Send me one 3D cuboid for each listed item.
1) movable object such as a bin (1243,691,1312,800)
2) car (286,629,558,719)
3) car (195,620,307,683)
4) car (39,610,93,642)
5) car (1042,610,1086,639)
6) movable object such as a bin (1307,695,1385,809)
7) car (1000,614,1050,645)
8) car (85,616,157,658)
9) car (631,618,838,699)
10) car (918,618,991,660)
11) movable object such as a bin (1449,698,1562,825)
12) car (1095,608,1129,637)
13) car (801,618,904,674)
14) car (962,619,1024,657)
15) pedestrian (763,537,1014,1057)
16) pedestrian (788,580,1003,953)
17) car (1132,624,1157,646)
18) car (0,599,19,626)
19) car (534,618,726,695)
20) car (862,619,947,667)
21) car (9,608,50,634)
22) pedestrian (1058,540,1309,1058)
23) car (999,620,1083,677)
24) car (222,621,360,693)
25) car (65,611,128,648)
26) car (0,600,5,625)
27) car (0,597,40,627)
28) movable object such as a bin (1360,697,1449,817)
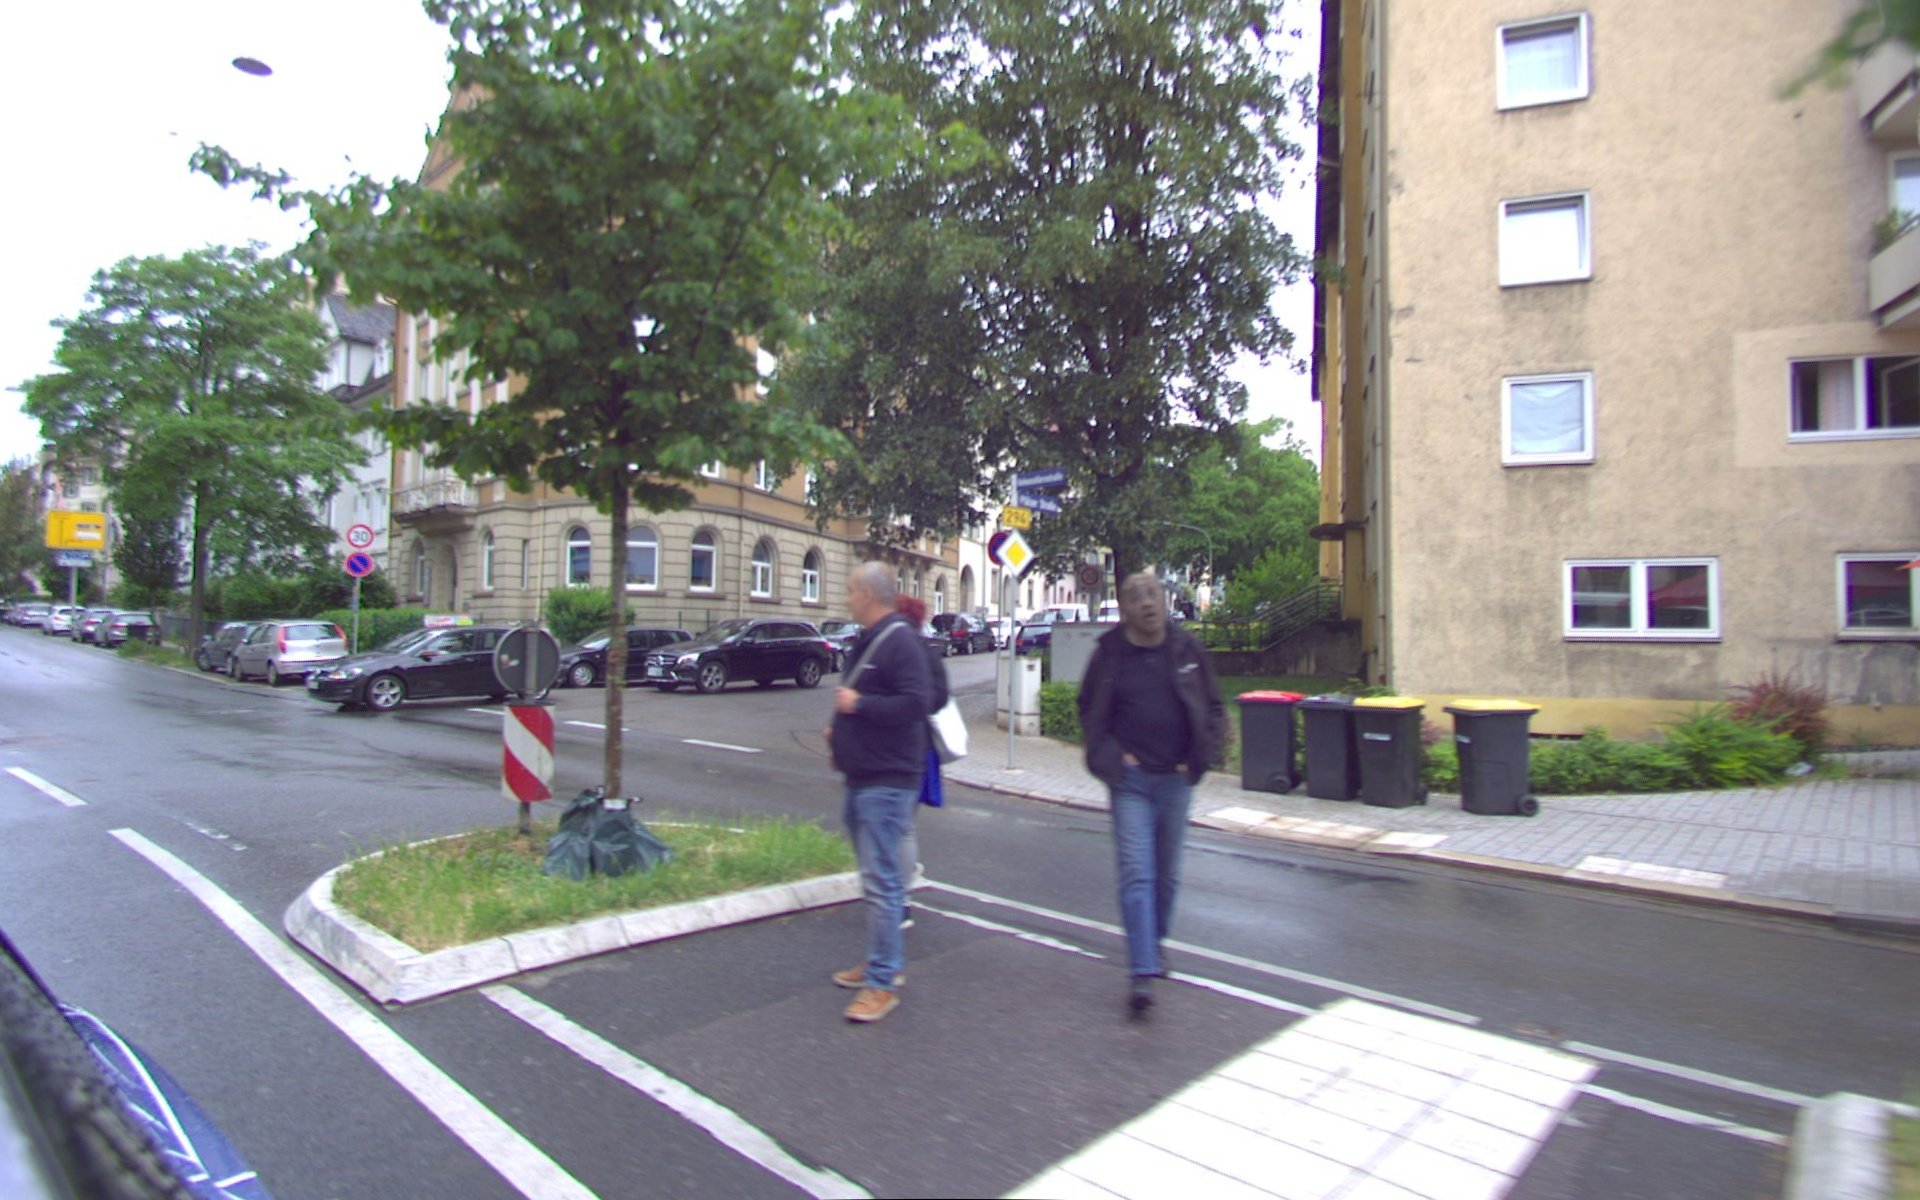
[{"bbox_3d":[3.456,1.553,10.990,0.576,1.066,0.735,0,-2,29],"label":"movable object such as a bin"},{"bbox_3d":[-9.589,1.259,18.283,1.809,1.431,3.948,-2,-3,38],"label":"car"},{"bbox_3d":[-19.066,1.334,27.175,3.391,1.527,1.651,0,0,40],"label":"car"},{"bbox_3d":[-45.194,1.300,51.138,3.392,1.527,1.650,0,0,41],"label":"car"},{"bbox_3d":[6.517,1.522,63.131,1.983,1.697,3.977,0,-2,17],"label":"car"},{"bbox_3d":[4.032,1.558,10.555,0.578,1.066,0.733,0,-2,38],"label":"movable object such as a bin"},{"bbox_3d":[3.764,1.690,57.829,1.983,1.697,3.977,0,-2,17],"label":"car"},{"bbox_3d":[-33.279,1.425,40.135,3.695,1.527,1.650,0,0,41],"label":"car"},{"bbox_3d":[-5.056,1.301,23.270,1.809,1.659,4.543,-2,-3,38],"label":"car"},{"bbox_3d":[-0.172,1.644,43.069,1.983,1.697,3.977,0,-2,17],"label":"car"},{"bbox_3d":[5.155,1.499,9.614,0.806,1.066,0.738,0,-2,17],"label":"movable object such as a bin"},{"bbox_3d":[11.604,1.715,77.261,1.983,2.095,3.977,0,-2,17],"label":"car"},{"bbox_3d":[-3.477,1.496,33.557,1.983,1.697,3.977,0,-2,17],"label":"car"},{"bbox_3d":[1.625,1.780,48.016,1.983,1.697,3.977,0,-2,17],"label":"car"},{"bbox_3d":[-0.272,0.687,3.922,0.698,1.762,0.603,-2,-5,43],"label":"pedestrian"},{"bbox_3d":[-0.327,0.781,5.089,0.779,1.678,0.700,4,-4,-33],"label":"pedestrian"},{"bbox_3d":[17.904,3.353,97.970,1.982,2.029,3.979,0,-2,16],"label":"car"},{"bbox_3d":[-67.533,0.866,71.151,3.657,1.896,1.619,0,-2,41],"label":"car"},{"bbox_3d":[-7.942,1.322,24.570,3.939,1.697,2.002,2,-2,-43],"label":"car"},{"bbox_3d":[-2.033,1.591,38.288,1.983,1.697,3.977,0,-2,17],"label":"car"},{"bbox_3d":[-56.845,1.286,61.802,3.393,1.527,1.538,0,0,42],"label":"car"},{"bbox_3d":[0.848,0.716,4.091,0.844,1.762,1.061,1,-5,7],"label":"pedestrian"},{"bbox_3d":[2.753,1.546,33.678,1.983,1.696,3.977,0,0,17],"label":"car"},{"bbox_3d":[-16.046,1.294,24.221,3.674,1.527,1.790,0,0,40],"label":"car"},{"bbox_3d":[-37.614,1.238,44.059,3.392,1.527,1.650,0,0,41],"label":"car"},{"bbox_3d":[-75.760,0.973,78.837,3.657,1.896,1.619,0,-2,41],"label":"car"},{"bbox_3d":[-60.571,0.776,65.062,3.657,1.896,1.619,0,-2,41],"label":"car"},{"bbox_3d":[4.428,1.536,10.072,0.731,1.066,0.579,2,-2,-44],"label":"movable object such as a bin"}]
